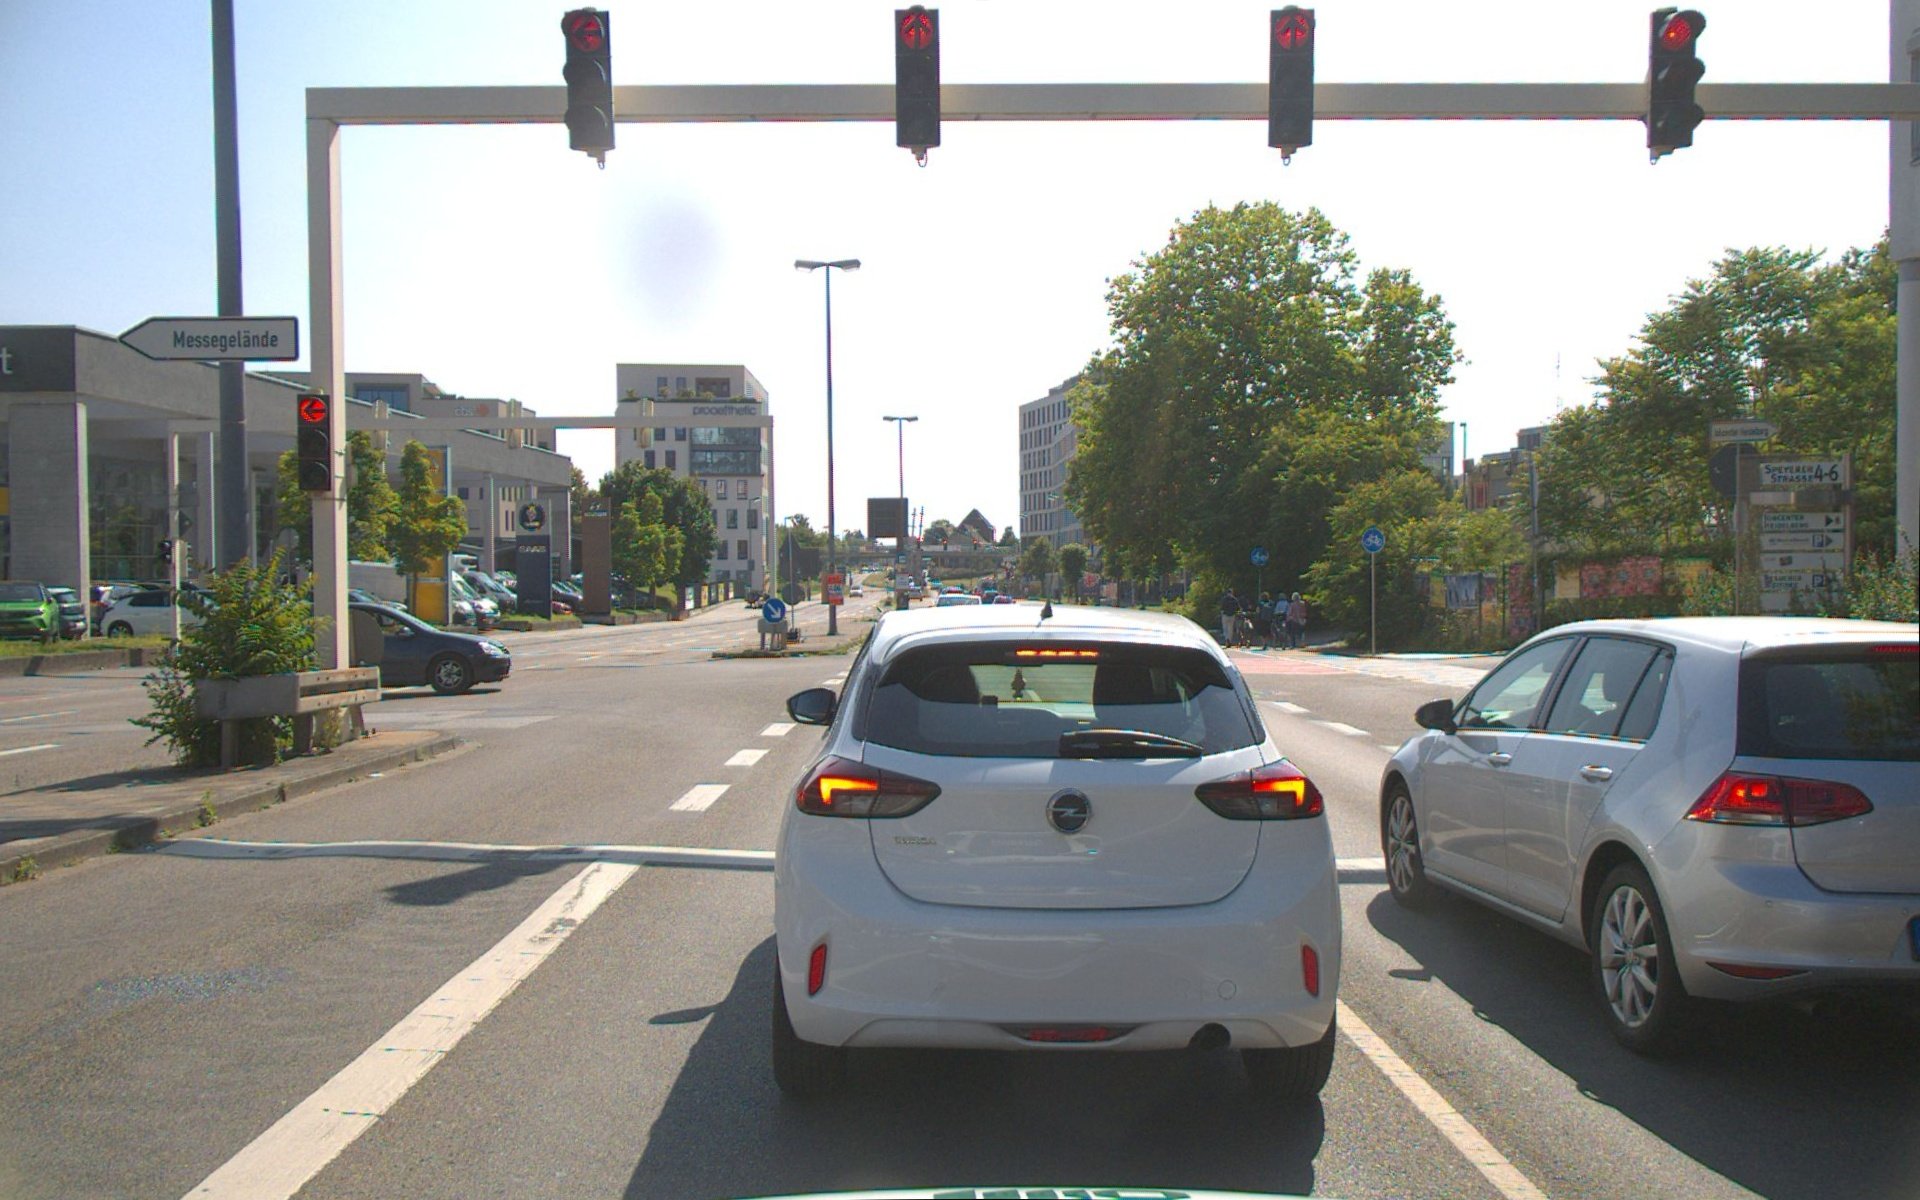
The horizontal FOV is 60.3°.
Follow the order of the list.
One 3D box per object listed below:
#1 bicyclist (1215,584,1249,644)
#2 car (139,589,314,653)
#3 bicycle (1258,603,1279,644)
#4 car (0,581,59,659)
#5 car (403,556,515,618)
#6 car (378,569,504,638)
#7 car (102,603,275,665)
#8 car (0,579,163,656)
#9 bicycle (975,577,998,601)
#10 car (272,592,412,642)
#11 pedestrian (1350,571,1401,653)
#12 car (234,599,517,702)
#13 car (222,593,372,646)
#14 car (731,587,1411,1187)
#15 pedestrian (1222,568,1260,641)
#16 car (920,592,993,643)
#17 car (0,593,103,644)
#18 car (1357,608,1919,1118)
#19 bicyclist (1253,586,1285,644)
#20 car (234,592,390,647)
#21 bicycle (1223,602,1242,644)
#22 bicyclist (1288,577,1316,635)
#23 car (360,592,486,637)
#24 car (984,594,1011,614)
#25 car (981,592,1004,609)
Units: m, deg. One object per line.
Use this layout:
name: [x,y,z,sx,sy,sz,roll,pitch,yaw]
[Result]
bicyclist: [8.165,0.414,49.639,0.861,1.803,0.863,0,0,-1]
car: [-21.505,0.593,48.627,4.211,1.796,1.999,-1,0,-4]
bicycle: [8.954,0.689,48.059,0.366,1.167,1.034,1,-1,-3]
car: [-22.560,0.496,38.958,1.887,1.764,3.250,-1,-1,-37]
car: [-21.987,-0.578,72.721,4.265,2.646,2.001,-1,0,4]
car: [-21.140,0.143,67.421,4.401,2.731,2.130,-1,0,8]
car: [-21.377,0.931,45.976,3.912,1.627,1.997,-1,0,-8]
car: [-22.510,0.427,41.732,3.793,1.870,1.999,-1,0,-4]
bicycle: [2.496,-0.999,155.617,1.953,2.195,3.999,-1,0,-1]
car: [-22.062,0.587,59.184,4.270,1.726,1.999,-1,0,-4]
pedestrian: [10.470,0.301,41.733,1.006,2.049,1.038,0,0,-1]
car: [-8.989,0.742,25.775,3.918,1.467,1.993,-1,0,-13]
car: [-22.376,0.644,55.969,4.270,1.726,1.999,-1,0,-4]
car: [0.254,0.727,6.262,1.743,1.520,3.999,-1,0,-1]
pedestrian: [9.002,0.140,52.979,1.006,2.278,1.038,0,0,-1]
car: [-0.103,0.493,47.070,1.953,1.355,3.999,1,-1,0]
car: [-26.264,0.539,45.537,4.276,1.290,1.996,-2,-1,-9]
car: [3.125,0.776,6.875,1.771,1.454,3.997,-1,0,-3]
bicyclist: [8.971,0.429,48.069,0.675,1.672,0.775,0,0,-9]
car: [-21.018,0.618,53.777,4.270,1.726,1.999,0,0,-3]
bicycle: [8.176,0.696,49.619,0.365,1.238,1.153,1,0,-1]
bicyclist: [10.073,0.181,48.737,0.639,1.666,0.659,1,-1,-1]
car: [-21.069,0.560,64.973,4.265,1.726,2.001,-1,0,4]
car: [2.705,0.285,120.336,1.769,1.410,3.999,1,-1,-1]
car: [2.755,0.070,140.221,1.769,1.410,3.999,1,-1,-1]
